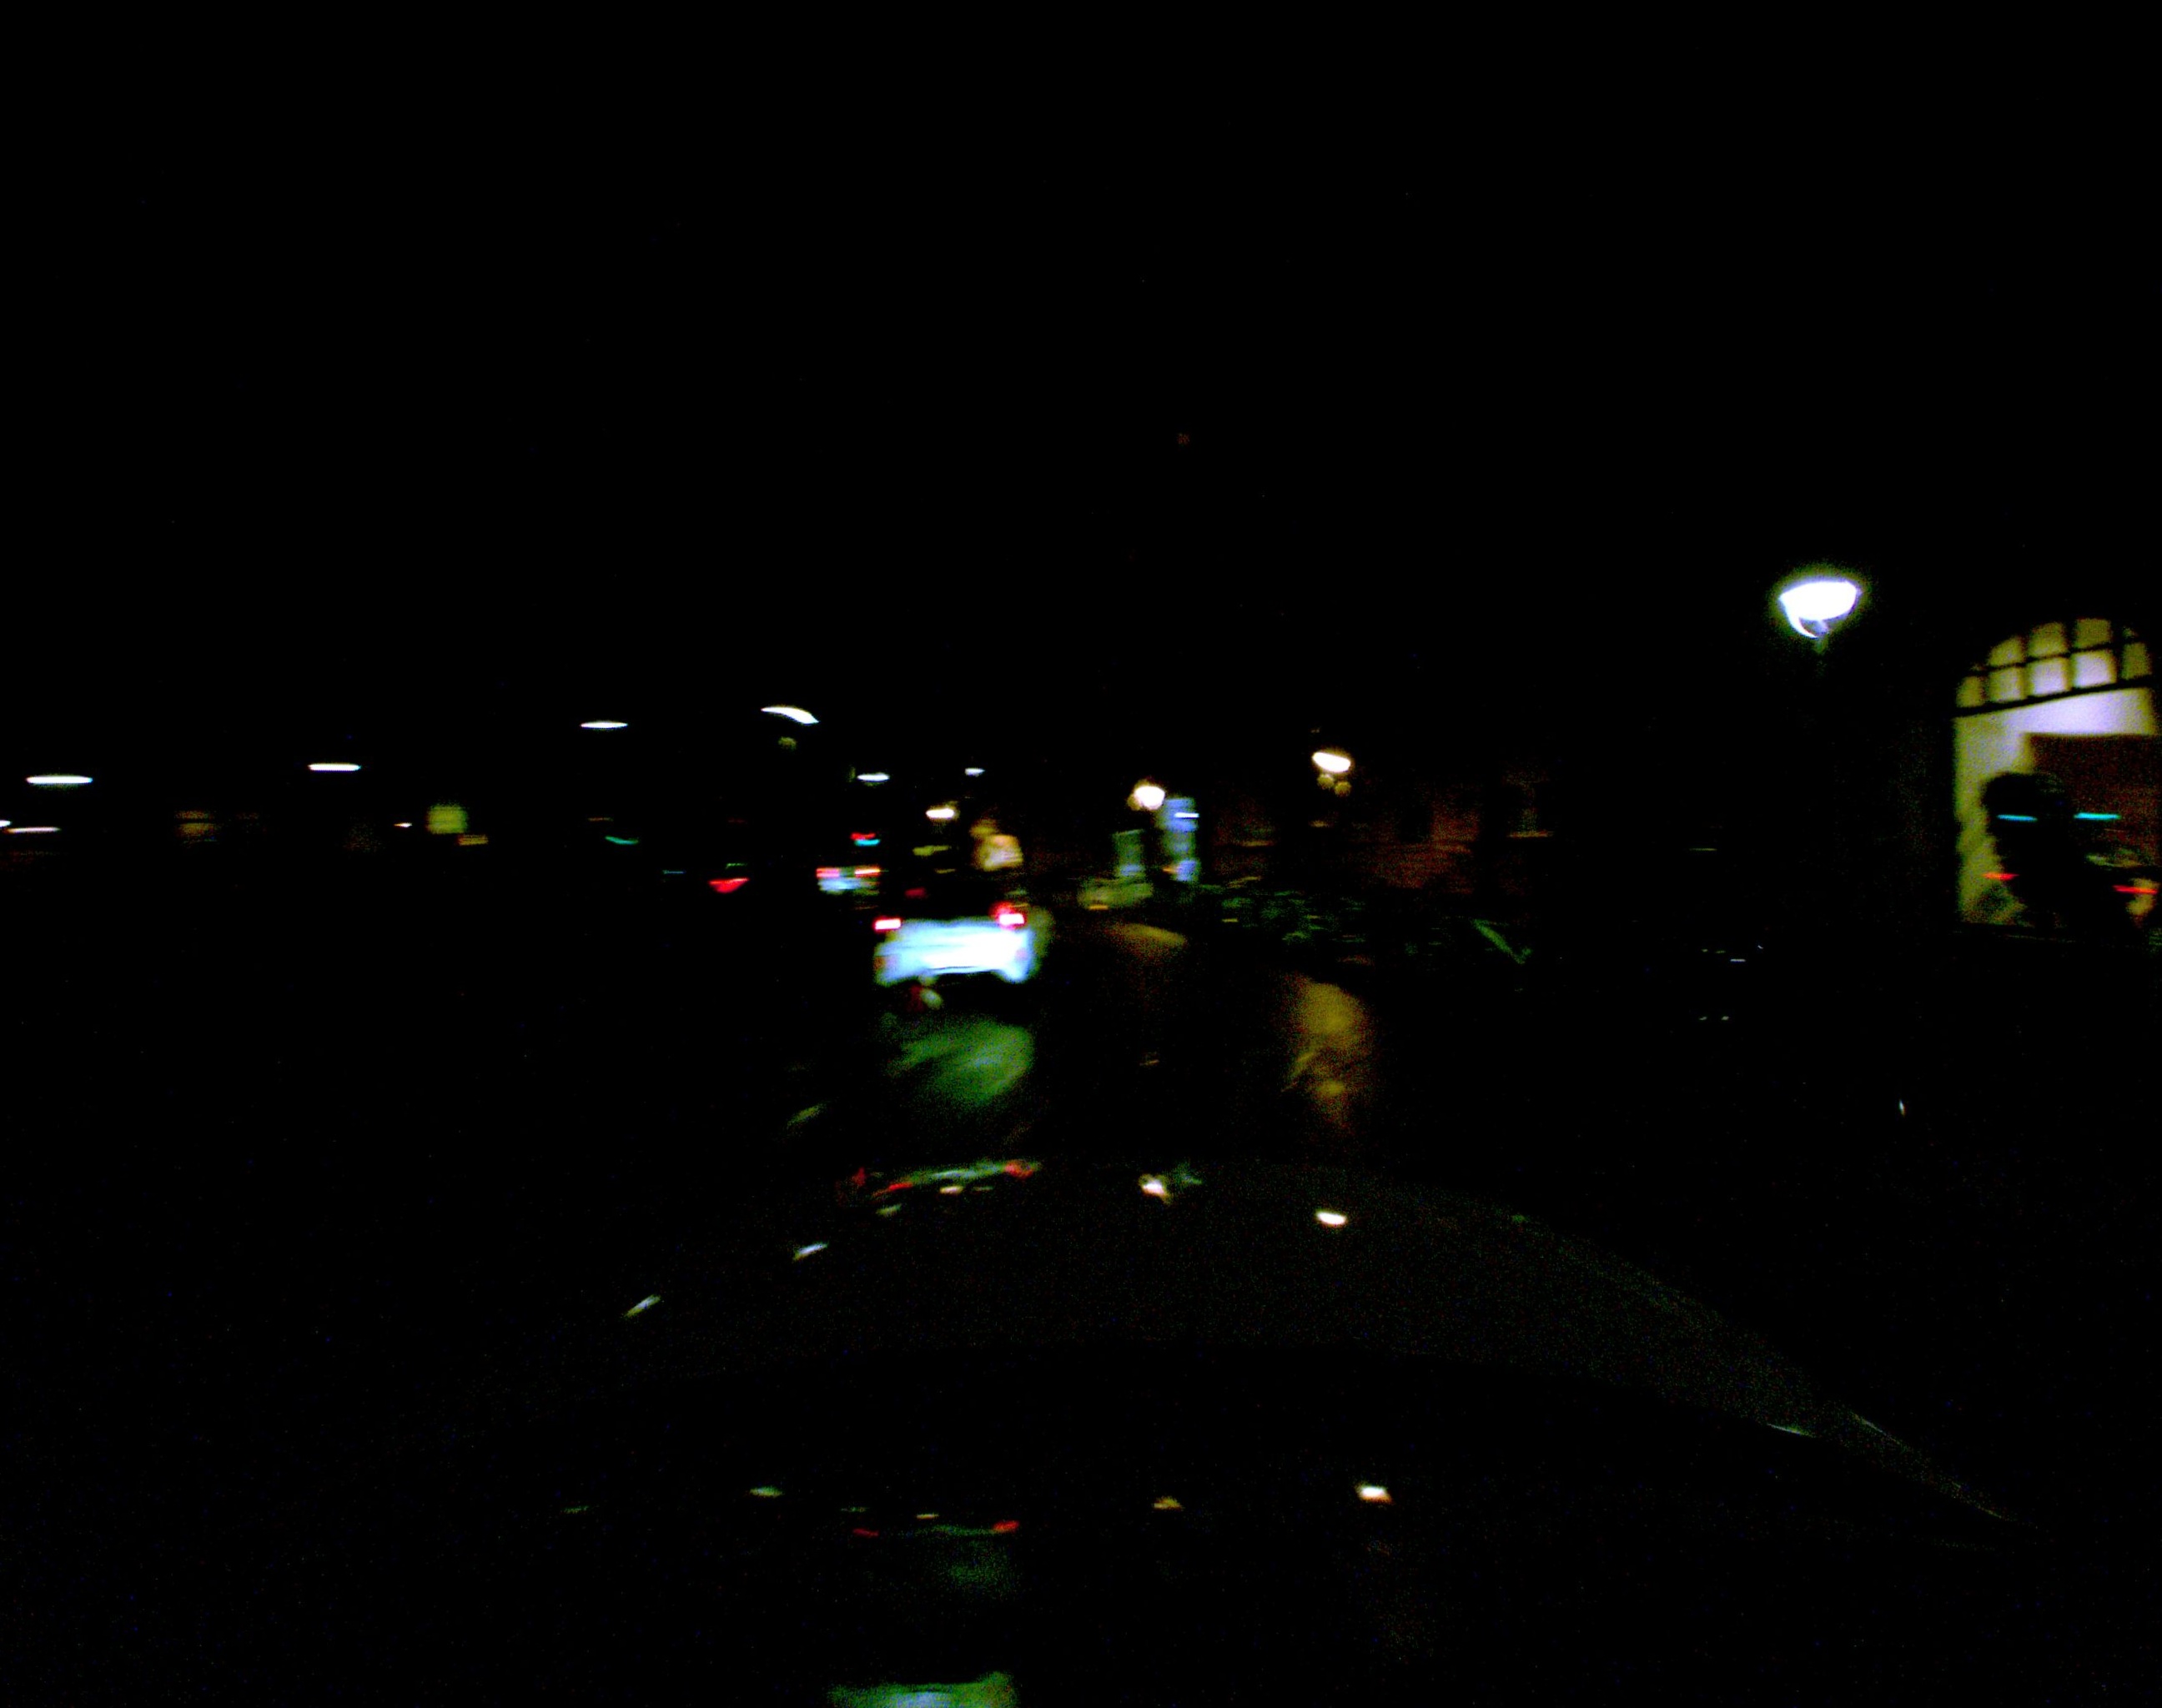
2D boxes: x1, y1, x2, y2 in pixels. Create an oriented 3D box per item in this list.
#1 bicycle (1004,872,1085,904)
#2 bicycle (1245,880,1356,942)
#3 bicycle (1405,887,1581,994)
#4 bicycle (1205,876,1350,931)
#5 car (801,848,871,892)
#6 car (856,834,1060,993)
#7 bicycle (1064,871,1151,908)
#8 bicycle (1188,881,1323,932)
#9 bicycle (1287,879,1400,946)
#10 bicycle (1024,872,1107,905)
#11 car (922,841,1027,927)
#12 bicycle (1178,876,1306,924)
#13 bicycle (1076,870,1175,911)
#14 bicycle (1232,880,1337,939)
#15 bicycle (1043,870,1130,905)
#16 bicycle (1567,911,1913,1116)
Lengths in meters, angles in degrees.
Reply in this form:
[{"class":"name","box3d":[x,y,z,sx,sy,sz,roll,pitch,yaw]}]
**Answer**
[{"class":"bicycle","box3d":[-1.259,1.182,28.460,2.784,1.026,0.718,0,-1,-29]},{"class":"bicycle","box3d":[3.988,1.032,14.840,1.928,1.059,0.450,-1,0,-7]},{"class":"bicycle","box3d":[4.336,0.898,8.612,1.653,1.059,0.450,0,0,-2]},{"class":"bicycle","box3d":[3.925,0.983,16.361,2.763,1.026,0.723,0,-1,-6]},{"class":"car","box3d":[-10.354,0.728,34.272,2.005,1.728,3.962,2,-3,-29]},{"class":"car","box3d":[-1.312,0.673,10.086,1.723,1.614,3.465,0,-2,4]},{"class":"bicycle","box3d":[0.843,1.062,24.918,2.787,1.026,0.717,0,-1,-34]},{"class":"bicycle","box3d":[3.752,1.120,17.580,2.763,1.026,0.723,0,-1,-6]},{"class":"bicycle","box3d":[4.337,0.956,13.476,1.725,1.059,0.450,0,0,-2]},{"class":"bicycle","box3d":[-0.506,1.138,27.246,2.784,1.026,0.718,0,-1,-29]},{"class":"car","box3d":[-2.532,0.701,18.614,1.996,1.728,3.981,1,-2,-13]},{"class":"bicycle","box3d":[3.635,1.023,18.434,2.763,1.026,0.723,0,-1,-6]},{"class":"bicycle","box3d":[1.268,1.050,23.477,2.763,1.129,0.723,0,-1,-6]},{"class":"bicycle","box3d":[3.895,1.049,15.618,1.928,1.059,0.450,-1,0,-7]},{"class":"bicycle","box3d":[0.188,1.060,26.030,2.784,1.026,0.718,0,-1,-29]},{"class":"bicycle","box3d":[3.747,0.885,4.683,1.653,1.059,0.450,0,0,-2]}]
